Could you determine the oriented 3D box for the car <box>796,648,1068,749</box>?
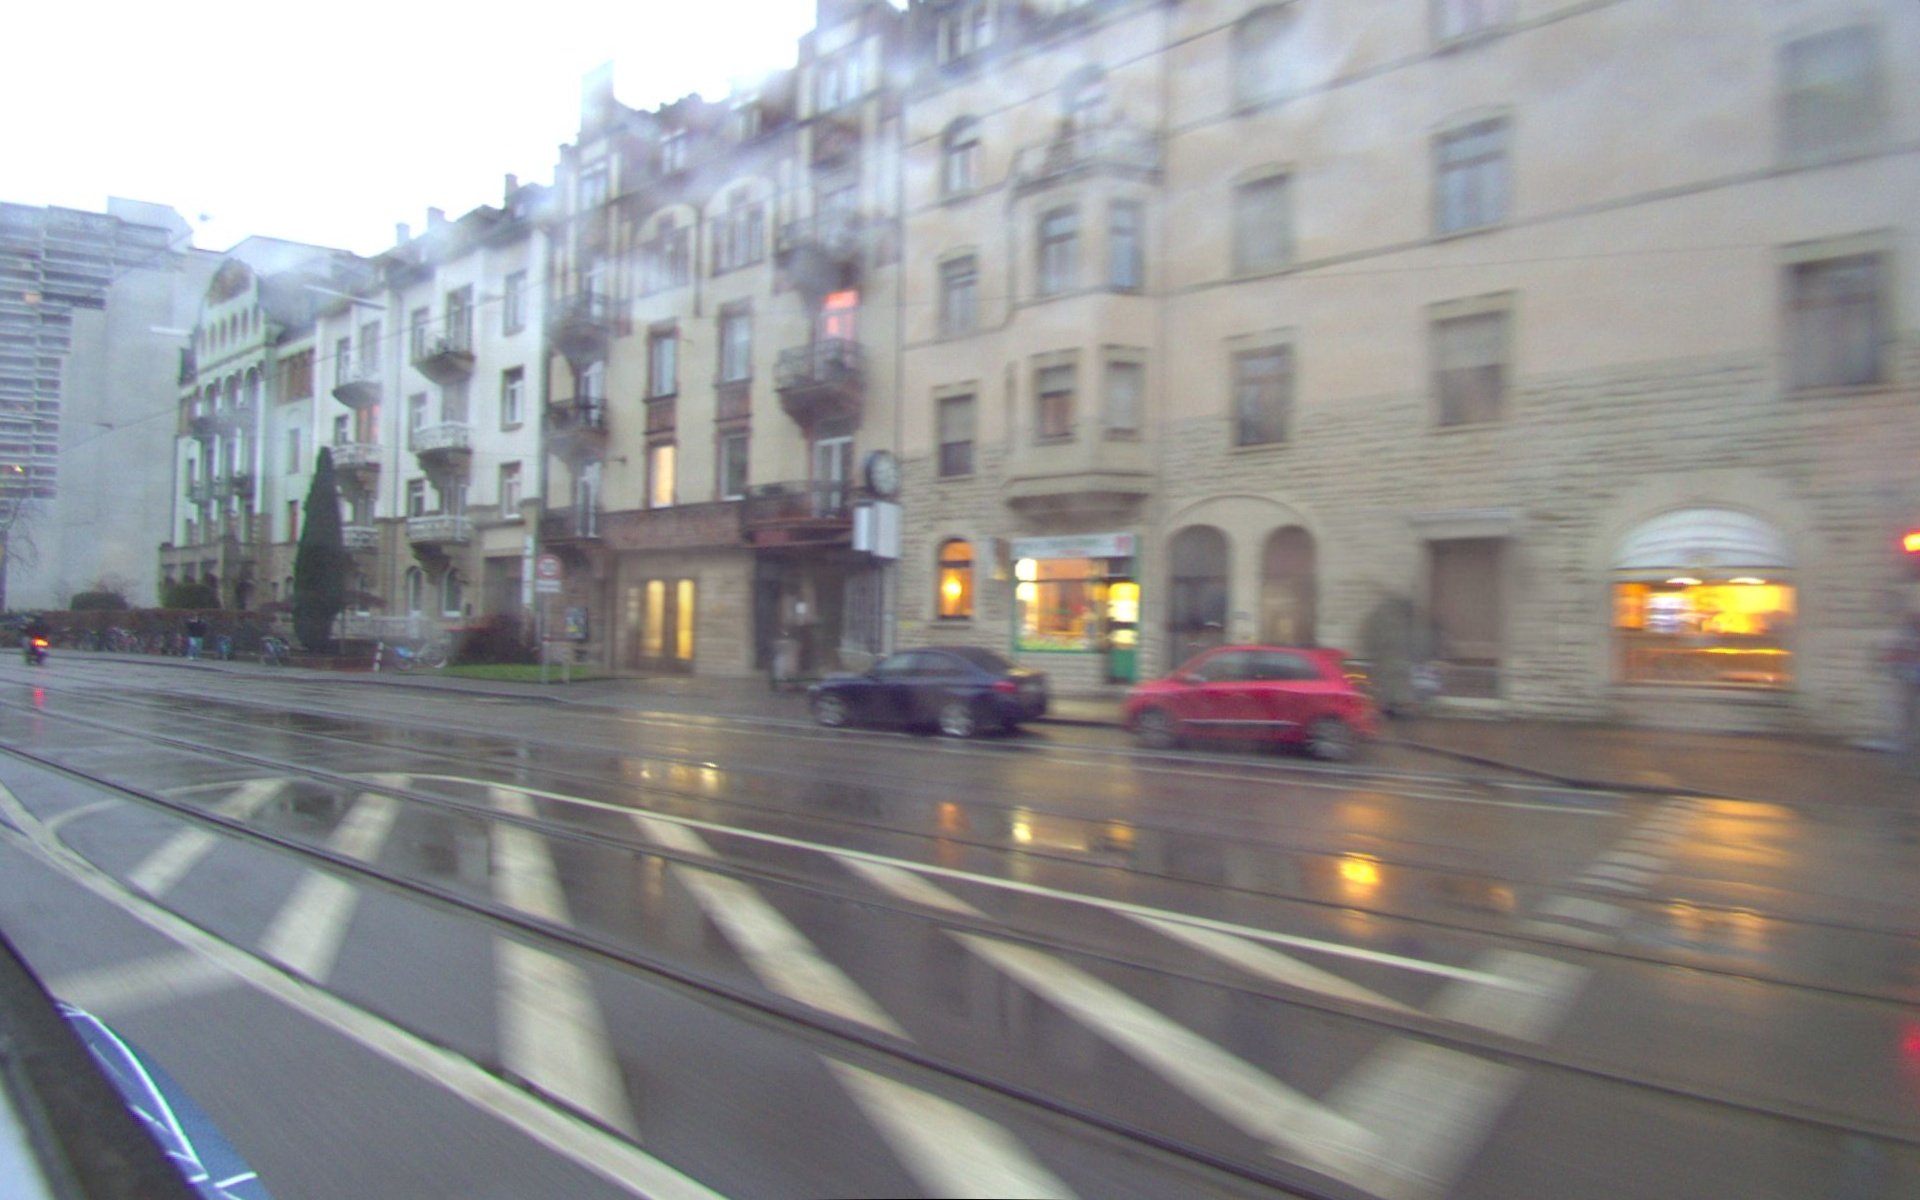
[{"bbox_3d":[-0.548,1.604,17.504,4.496,1.400,1.787,-1,0,33],"label":"car"}]

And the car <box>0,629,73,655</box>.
[{"bbox_3d":[-51.926,2.318,56.159,1.724,1.424,3.794,-1,-3,37],"label":"car"}]

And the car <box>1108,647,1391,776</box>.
[{"bbox_3d":[4.168,1.506,14.679,3.665,1.528,1.660,-1,0,31],"label":"car"}]

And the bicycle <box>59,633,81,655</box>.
[{"bbox_3d":[-42.989,2.096,48.876,1.878,1.014,0.430,-1,0,38],"label":"bicycle"}]

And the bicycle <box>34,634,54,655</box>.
[{"bbox_3d":[-46.932,2.261,51.841,1.878,1.014,0.464,-1,0,38],"label":"bicycle"}]

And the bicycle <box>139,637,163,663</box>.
[{"bbox_3d":[-33.812,2.074,42.293,1.710,1.014,0.430,-1,0,38],"label":"bicycle"}]

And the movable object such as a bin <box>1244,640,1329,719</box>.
[{"bbox_3d":[6.165,1.469,19.114,1.272,1.382,0.993,-1,0,35],"label":"movable object such as a bin"}]

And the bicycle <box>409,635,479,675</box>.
[{"bbox_3d":[-16.632,1.769,32.671,0.530,1.167,1.967,-1,0,35],"label":"bicycle"}]

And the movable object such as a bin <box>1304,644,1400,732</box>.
[{"bbox_3d":[6.907,1.506,17.818,1.278,1.382,1.337,-1,0,35],"label":"movable object such as a bin"}]

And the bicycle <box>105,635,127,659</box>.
[{"bbox_3d":[-37.029,2.064,44.391,1.603,1.014,0.430,-1,0,38],"label":"bicycle"}]

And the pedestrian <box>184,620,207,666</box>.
[{"bbox_3d":[-28.167,1.579,37.295,0.448,1.654,0.567,-1,0,35],"label":"pedestrian"}]

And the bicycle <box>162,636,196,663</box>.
[{"bbox_3d":[-31.115,1.945,40.306,2.206,1.014,0.518,-1,0,38],"label":"bicycle"}]

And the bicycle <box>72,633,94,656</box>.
[{"bbox_3d":[-41.354,2.098,47.714,1.878,1.014,0.430,-1,0,38],"label":"bicycle"}]

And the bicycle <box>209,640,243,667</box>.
[{"bbox_3d":[-26.841,1.941,36.996,2.208,0.896,0.524,-1,0,41],"label":"bicycle"}]

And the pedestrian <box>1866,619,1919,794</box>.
[{"bbox_3d":[10.882,1.172,11.258,0.784,1.892,0.897,-1,0,-17],"label":"pedestrian"}]

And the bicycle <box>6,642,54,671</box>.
[{"bbox_3d":[-31.215,1.891,33.979,1.706,0.896,0.642,0,-4,29],"label":"bicycle"}]

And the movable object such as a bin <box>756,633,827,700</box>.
[{"bbox_3d":[-3.920,1.525,23.528,1.072,1.442,1.226,-1,0,35],"label":"movable object such as a bin"}]

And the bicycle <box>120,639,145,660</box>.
[{"bbox_3d":[-35.358,2.094,43.247,1.765,0.838,0.437,-1,0,38],"label":"bicycle"}]

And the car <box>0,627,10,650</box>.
[{"bbox_3d":[-61.323,2.442,62.424,1.724,1.424,3.795,-1,-1,37],"label":"car"}]

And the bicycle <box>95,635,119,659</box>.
[{"bbox_3d":[-38.487,2.114,45.658,1.878,1.014,0.430,-1,0,38],"label":"bicycle"}]

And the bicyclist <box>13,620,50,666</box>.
[{"bbox_3d":[-31.211,1.459,34.009,0.655,1.512,0.651,0,-4,29],"label":"bicyclist"}]

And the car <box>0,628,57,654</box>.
[{"bbox_3d":[-54.168,2.332,57.615,1.724,1.424,3.794,-1,-3,37],"label":"car"}]

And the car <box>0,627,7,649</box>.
[{"bbox_3d":[-64.554,2.515,65.594,1.724,1.424,3.795,-1,0,37],"label":"car"}]

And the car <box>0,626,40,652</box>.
[{"bbox_3d":[-56.521,2.303,59.148,1.724,1.424,3.795,-1,0,37],"label":"car"}]

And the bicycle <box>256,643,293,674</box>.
[{"bbox_3d":[-23.065,1.955,34.036,2.085,0.947,0.524,-1,0,41],"label":"bicycle"}]
